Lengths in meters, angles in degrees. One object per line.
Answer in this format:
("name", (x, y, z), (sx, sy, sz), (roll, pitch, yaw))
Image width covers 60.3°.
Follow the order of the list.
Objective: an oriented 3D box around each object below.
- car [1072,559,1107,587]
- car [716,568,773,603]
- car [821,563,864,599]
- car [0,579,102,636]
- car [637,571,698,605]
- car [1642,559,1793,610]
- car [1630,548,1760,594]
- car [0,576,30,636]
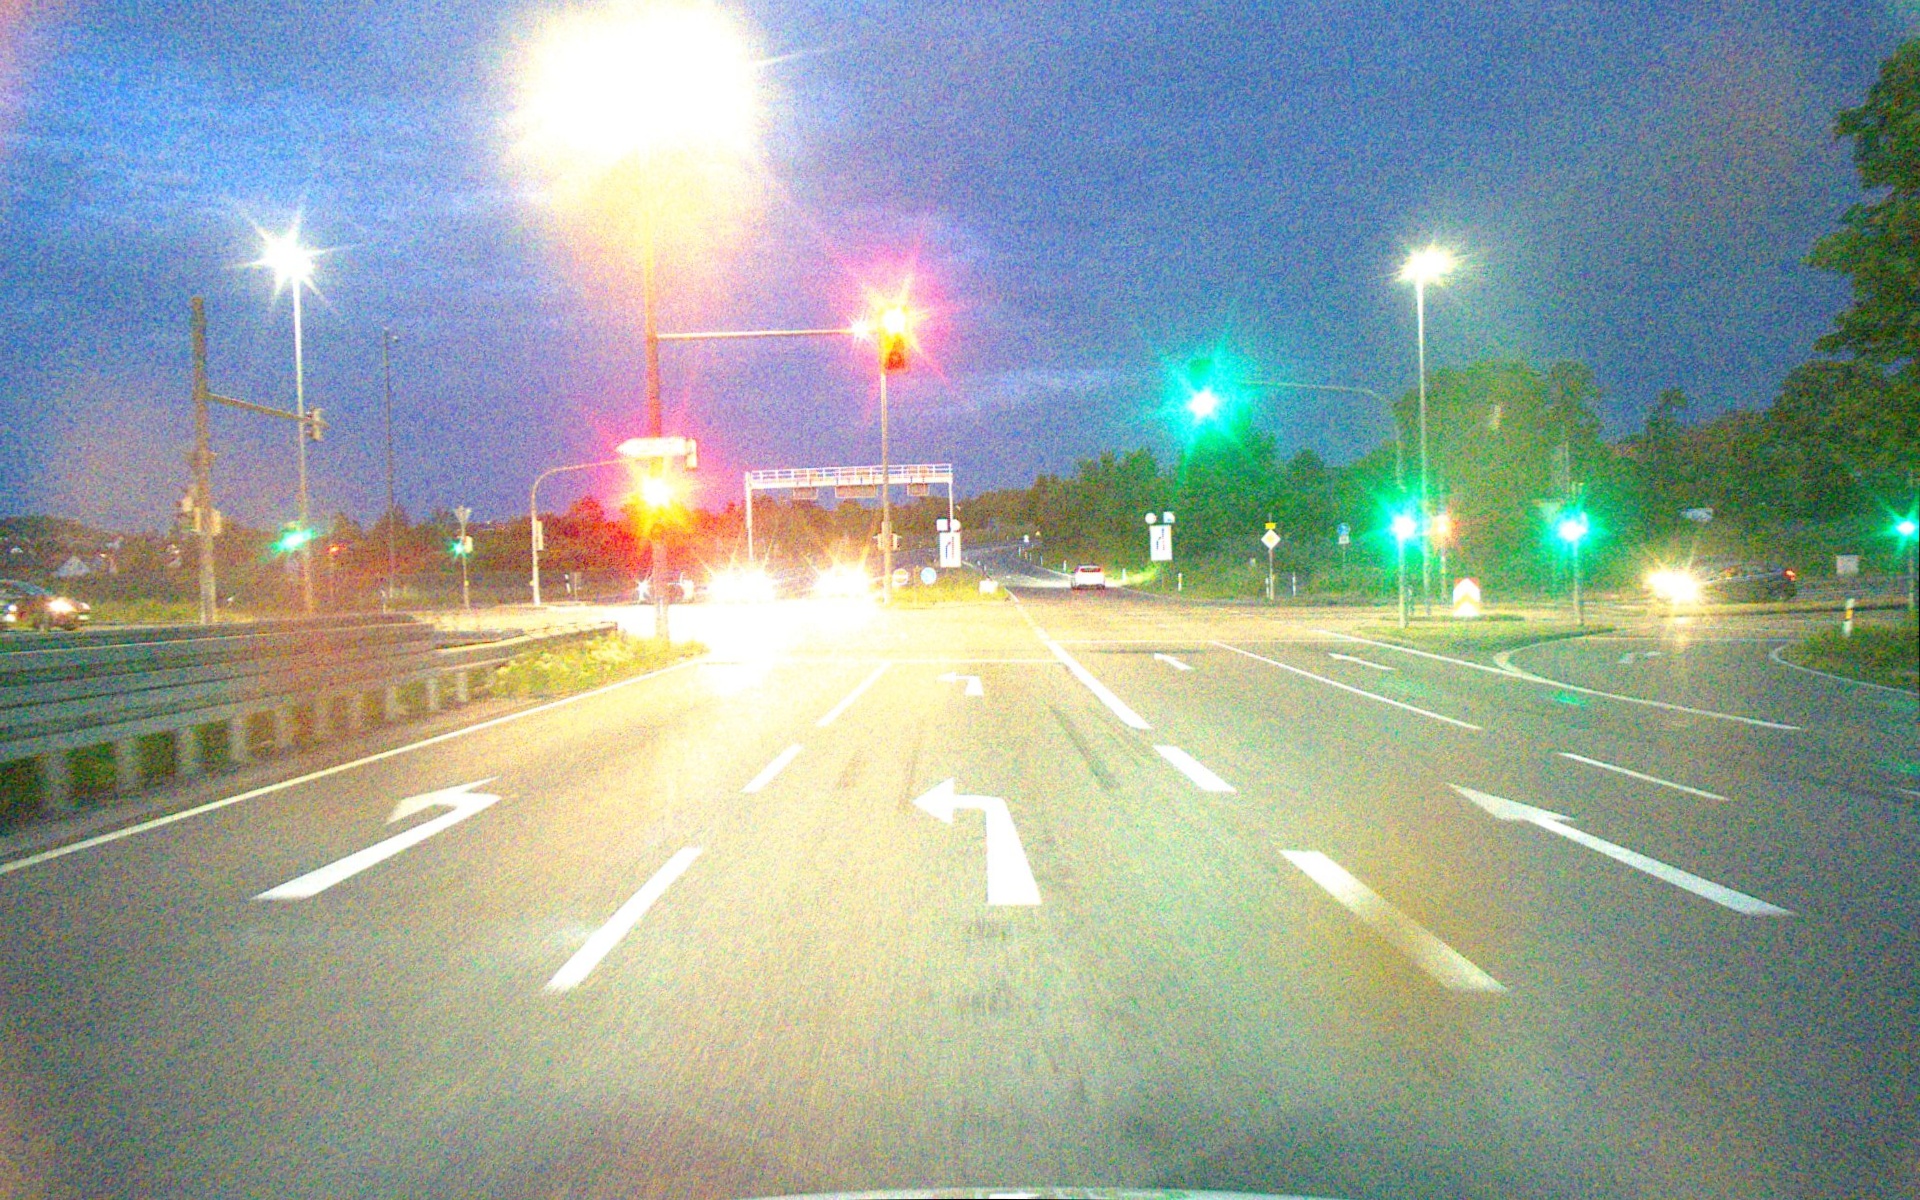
("car", (7.619, -1.602, 97.559), (1.965, 1.639, 3.847), (0, 1, 3))
("car", (-9.718, -0.689, 74.848), (1.953, 1.507, 4.682), (-1, 1, 0))
("car", (-5.957, -0.988, 84.287), (1.953, 1.727, 4.000), (-1, 1, 0))
("car", (-26.878, 0.216, 47.080), (3.959, 1.564, 1.729), (-1, 1, -3))
("car", (-13.207, -0.550, 74.844), (1.953, 1.450, 4.532), (-1, 1, 0))
("car", (24.591, -0.516, 53.796), (3.992, 1.596, 2.002), (-1, 1, -3))
("car", (26.886, -1.079, 60.555), (3.907, 1.596, 1.900), (-1, 1, -3))
("car", (-27.153, 0.191, 43.617), (4.225, 1.564, 1.729), (-1, 1, -1))
